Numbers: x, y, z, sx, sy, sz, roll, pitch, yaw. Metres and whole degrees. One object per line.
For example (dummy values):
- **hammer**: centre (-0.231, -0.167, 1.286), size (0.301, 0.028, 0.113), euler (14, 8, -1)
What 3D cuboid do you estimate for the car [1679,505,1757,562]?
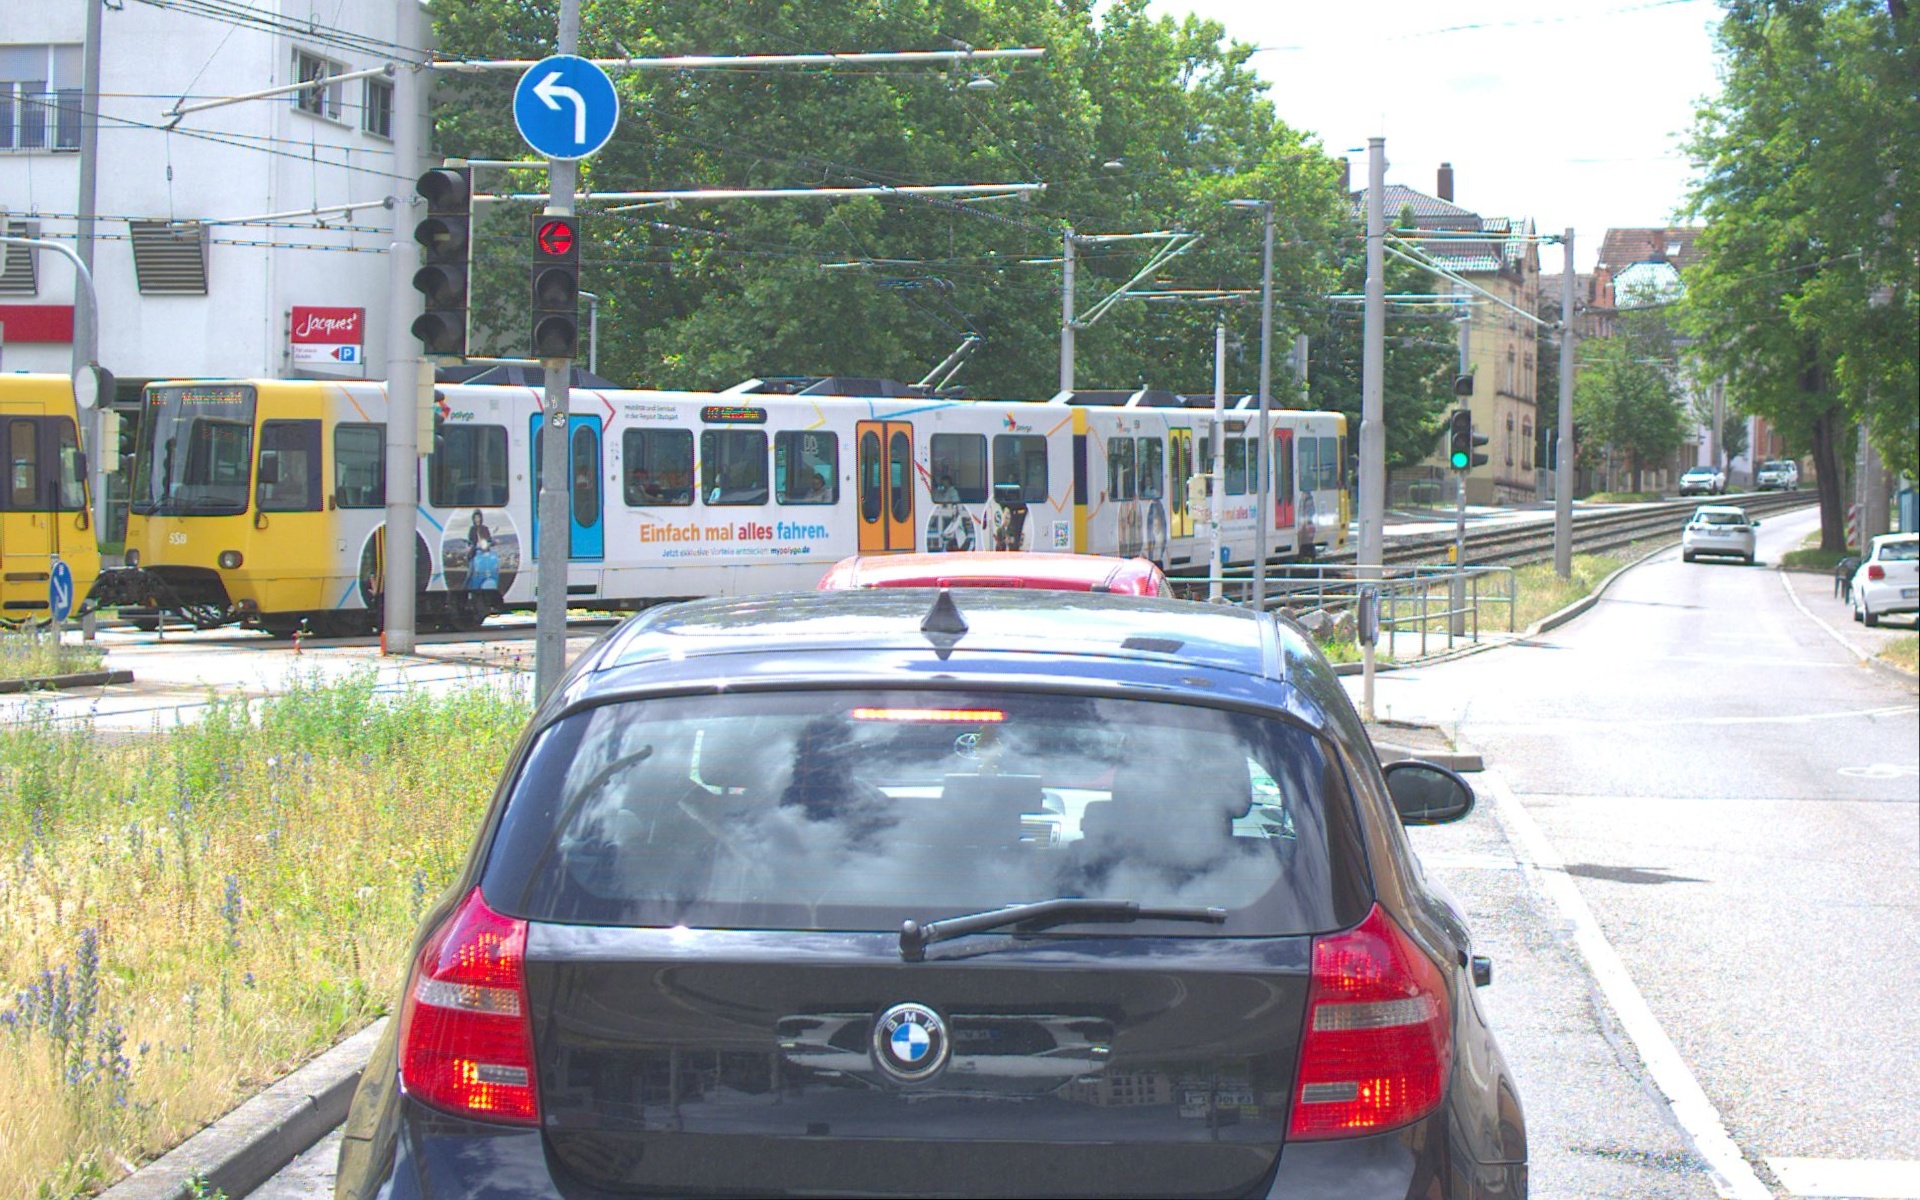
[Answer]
- **car**: centre (20.054, -1.769, 91.068), size (1.816, 1.463, 3.999), euler (0, 1, 10)

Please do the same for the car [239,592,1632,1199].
- **car**: centre (-0.117, 0.716, 6.207), size (1.701, 1.447, 4.000), euler (0, 0, -3)

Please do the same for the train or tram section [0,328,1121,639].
- **train or tram section**: centre (-4.961, -1.518, 52.033), size (3.757, 3.866, 20.591), euler (0, 0, 37)

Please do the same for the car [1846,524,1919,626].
- **car**: centre (15.405, -0.406, 55.952), size (1.788, 1.590, 3.998), euler (0, 0, 13)

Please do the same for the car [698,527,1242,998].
- **car**: centre (0.188, 0.505, 12.798), size (1.625, 1.468, 3.999), euler (0, 0, 6)

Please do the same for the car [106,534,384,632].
- **car**: centre (-11.825, -0.285, 57.006), size (4.158, 1.579, 1.858), euler (-1, 0, -44)

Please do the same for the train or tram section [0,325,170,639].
- **train or tram section**: centre (-19.490, -1.370, 39.455), size (20.082, 3.816, 3.762), euler (-1, 0, -30)

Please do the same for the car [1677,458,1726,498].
- **car**: centre (40.515, -6.659, 187.729), size (1.996, 2.007, 3.996), euler (0, 0, 21)

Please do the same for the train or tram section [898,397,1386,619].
- **train or tram section**: centre (4.274, -1.641, 69.188), size (3.753, 3.801, 20.029), euler (0, 0, 21)

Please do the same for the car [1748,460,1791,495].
- **car**: centre (48.750, -7.363, 207.026), size (1.996, 2.007, 3.996), euler (0, 0, 21)
